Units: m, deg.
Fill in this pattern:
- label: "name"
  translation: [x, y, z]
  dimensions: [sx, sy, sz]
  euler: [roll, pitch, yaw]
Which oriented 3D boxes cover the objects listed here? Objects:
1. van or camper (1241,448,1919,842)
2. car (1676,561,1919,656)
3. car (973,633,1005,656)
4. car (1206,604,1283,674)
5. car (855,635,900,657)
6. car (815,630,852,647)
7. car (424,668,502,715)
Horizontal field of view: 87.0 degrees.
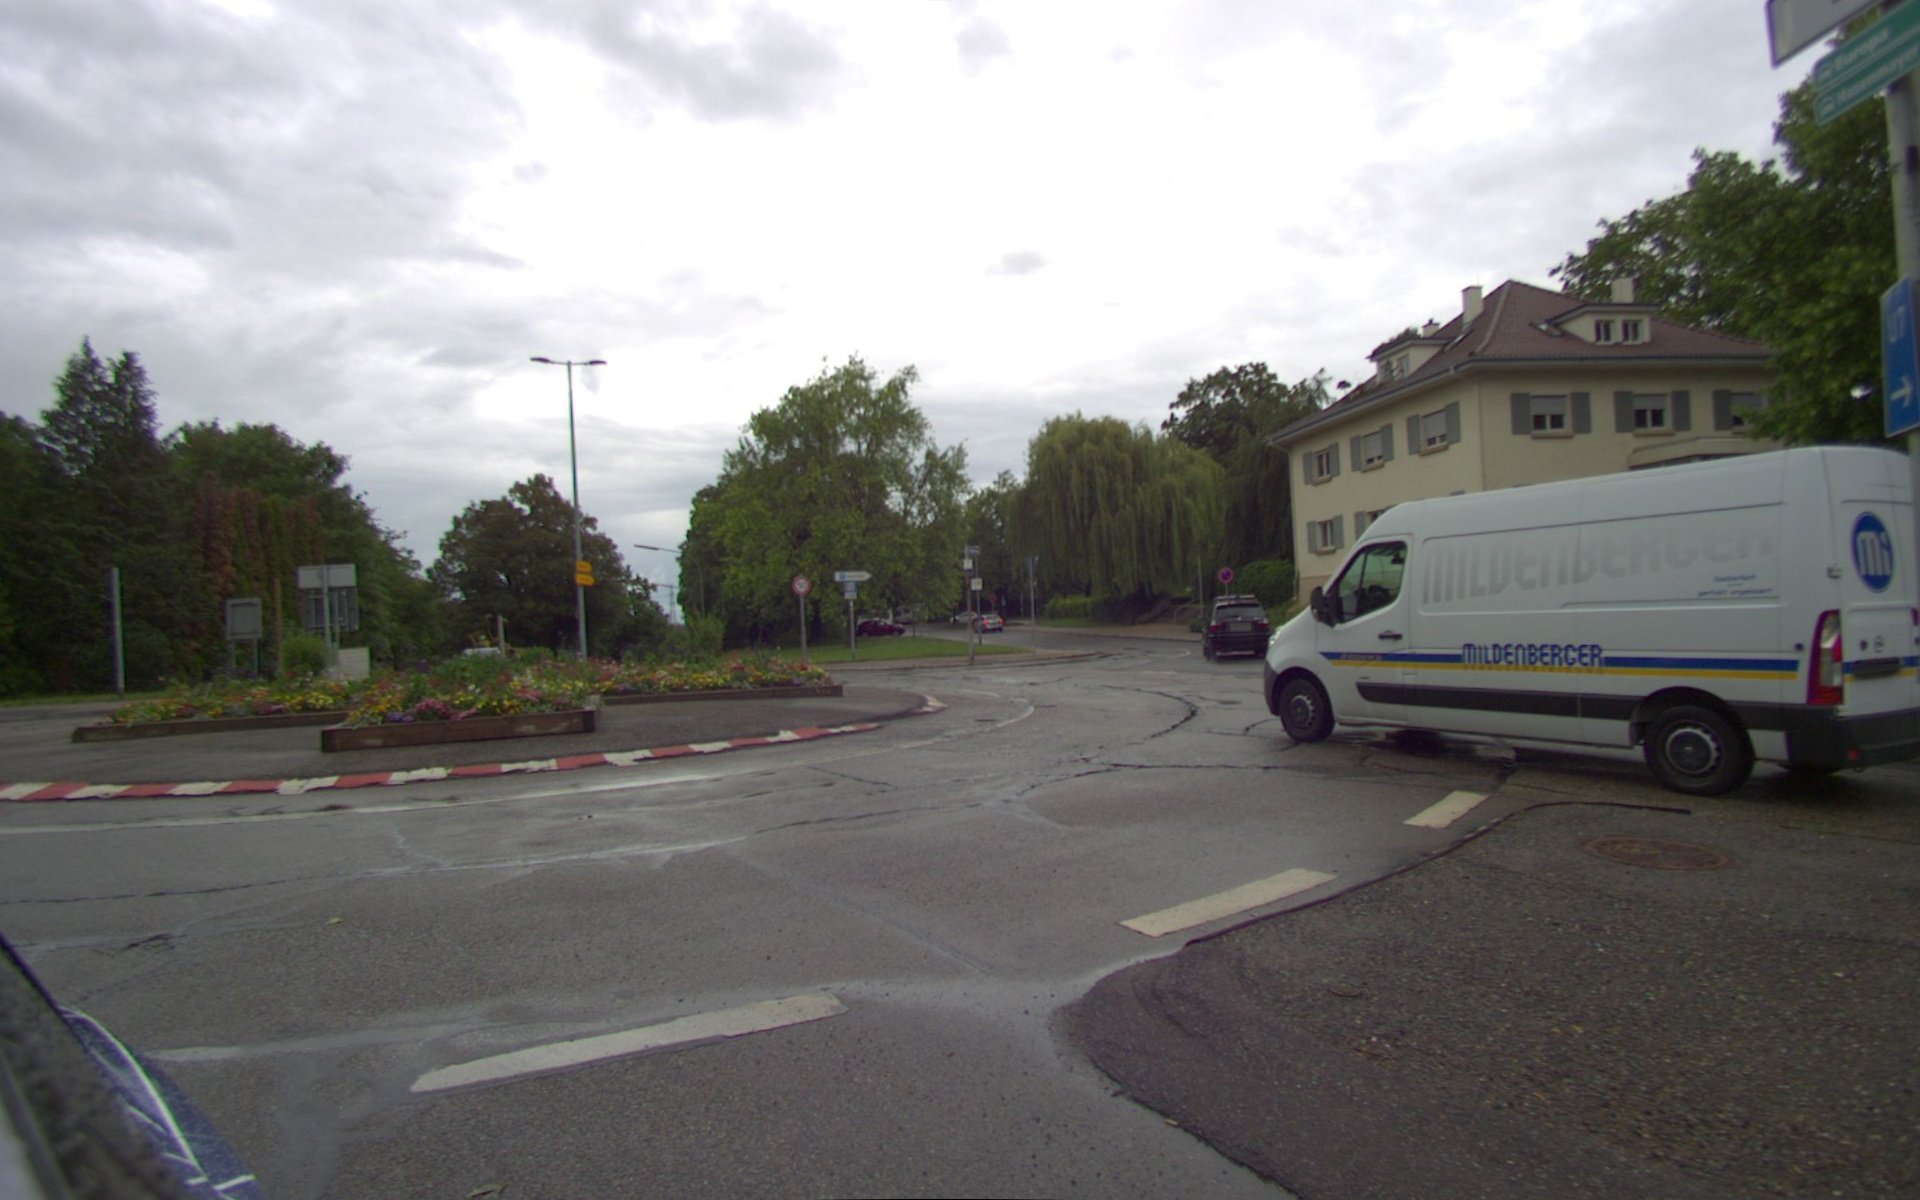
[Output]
- label: "van or camper"
  translation: [5.421, 0.325, 9.161]
  dimensions: [2.163, 2.396, 5.687]
  euler: [-1, -1, -28]
- label: "car"
  translation: [15.251, 0.170, 18.050]
  dimensions: [3.769, 1.497, 1.822]
  euler: [-2, -3, -10]
- label: "car"
  translation: [2.329, 3.604, 82.656]
  dimensions: [1.969, 1.754, 4.150]
  euler: [-1, -1, -7]
- label: "car"
  translation: [8.084, 1.139, 29.080]
  dimensions: [1.752, 1.815, 4.230]
  euler: [-2, -3, 12]
- label: "car"
  translation: [-6.656, 3.703, 81.876]
  dimensions: [3.581, 1.606, 1.808]
  euler: [-1, -1, -5]
- label: "car"
  translation: [-12.769, 3.886, 102.237]
  dimensions: [3.581, 1.606, 1.808]
  euler: [-1, -1, -5]
- label: "car"
  translation: [-18.589, 3.386, 38.012]
  dimensions: [1.686, 1.431, 4.010]
  euler: [-1, -1, -12]
